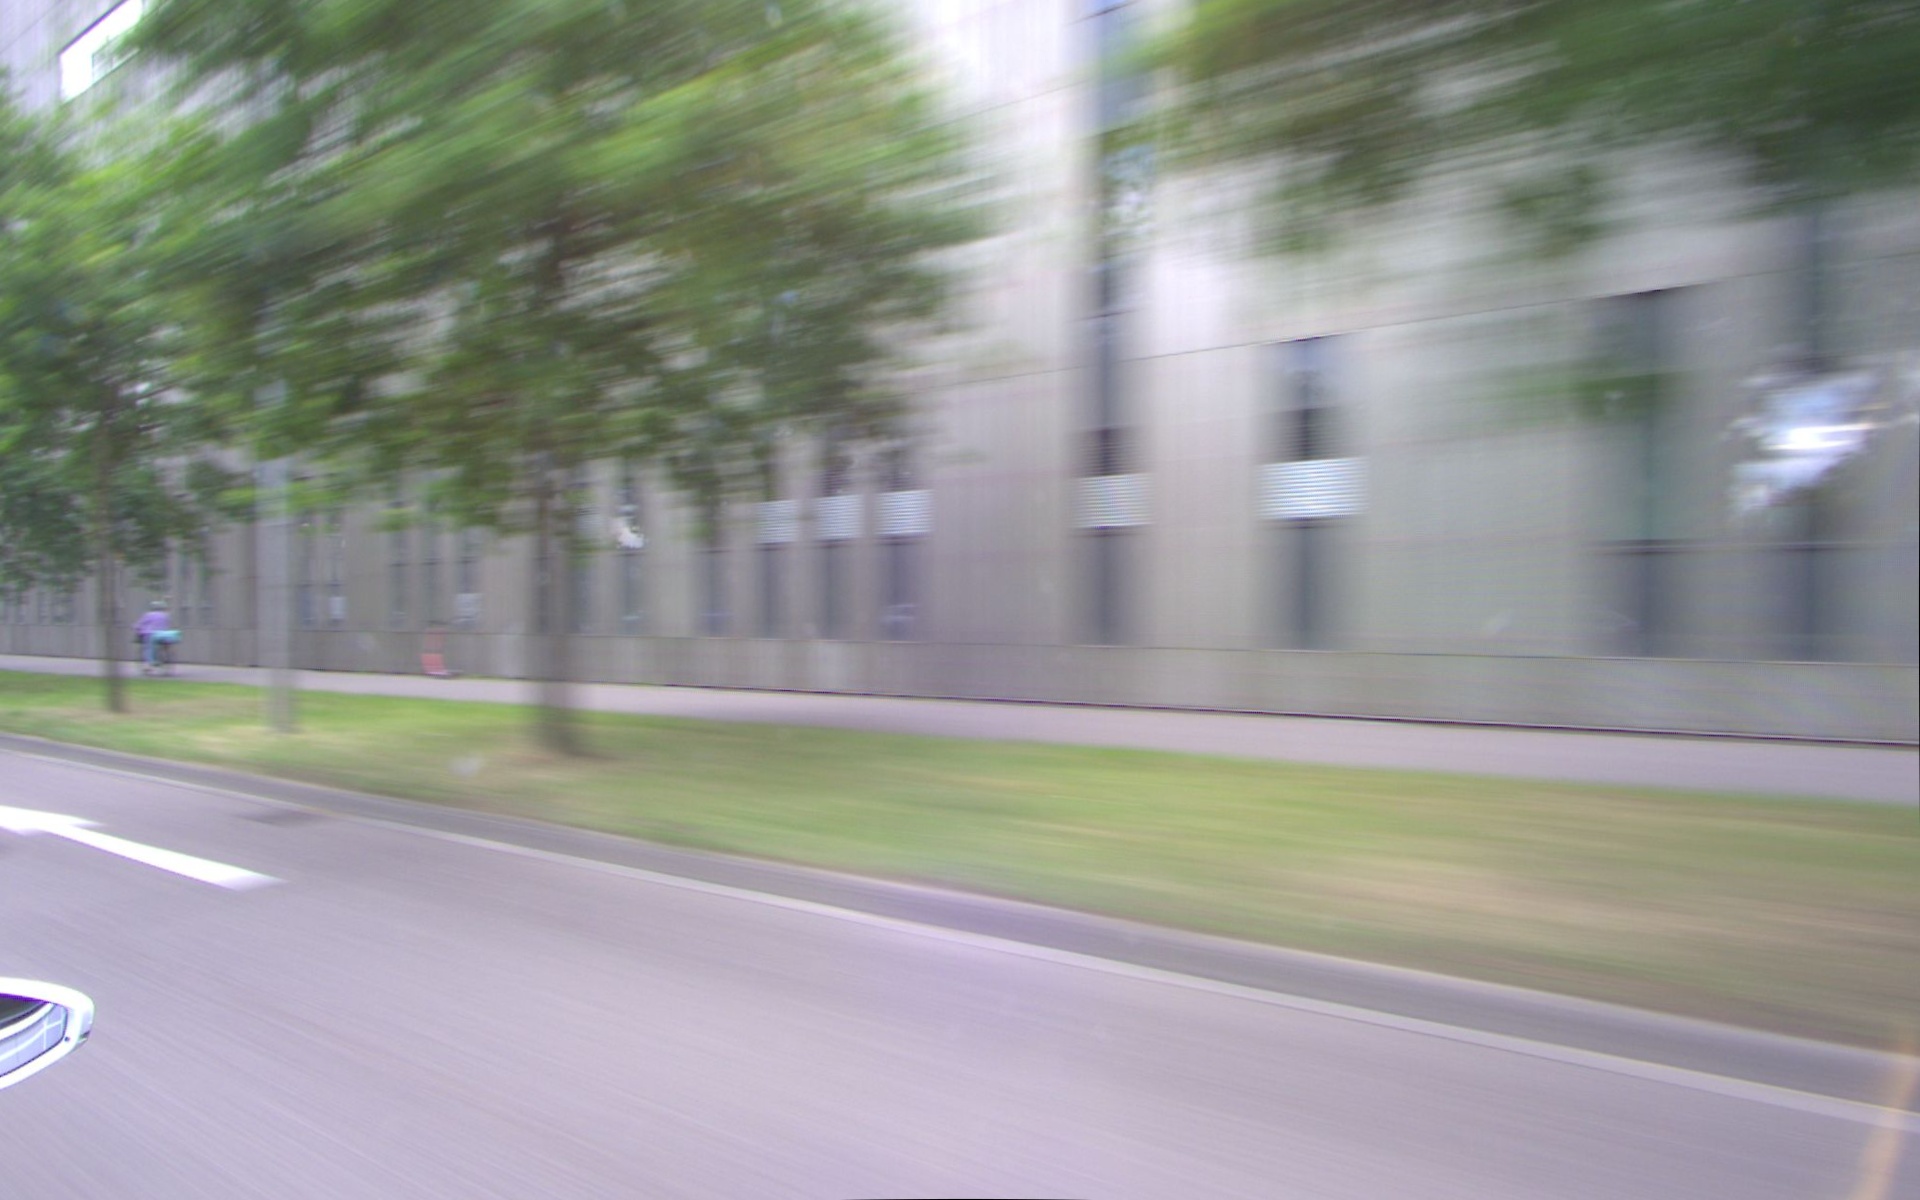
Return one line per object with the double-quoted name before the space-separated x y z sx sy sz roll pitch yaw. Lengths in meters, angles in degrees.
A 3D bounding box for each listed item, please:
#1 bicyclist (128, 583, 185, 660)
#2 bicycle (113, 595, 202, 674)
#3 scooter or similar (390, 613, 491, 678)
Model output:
"bicyclist" -19.121 0.501 23.824 0.973 1.792 0.714 0 1 28
"bicycle" -19.096 0.792 23.812 2.494 1.797 0.719 0 1 29
"scooter or similar" -10.758 0.918 20.702 2.444 1.263 0.703 0 1 33
